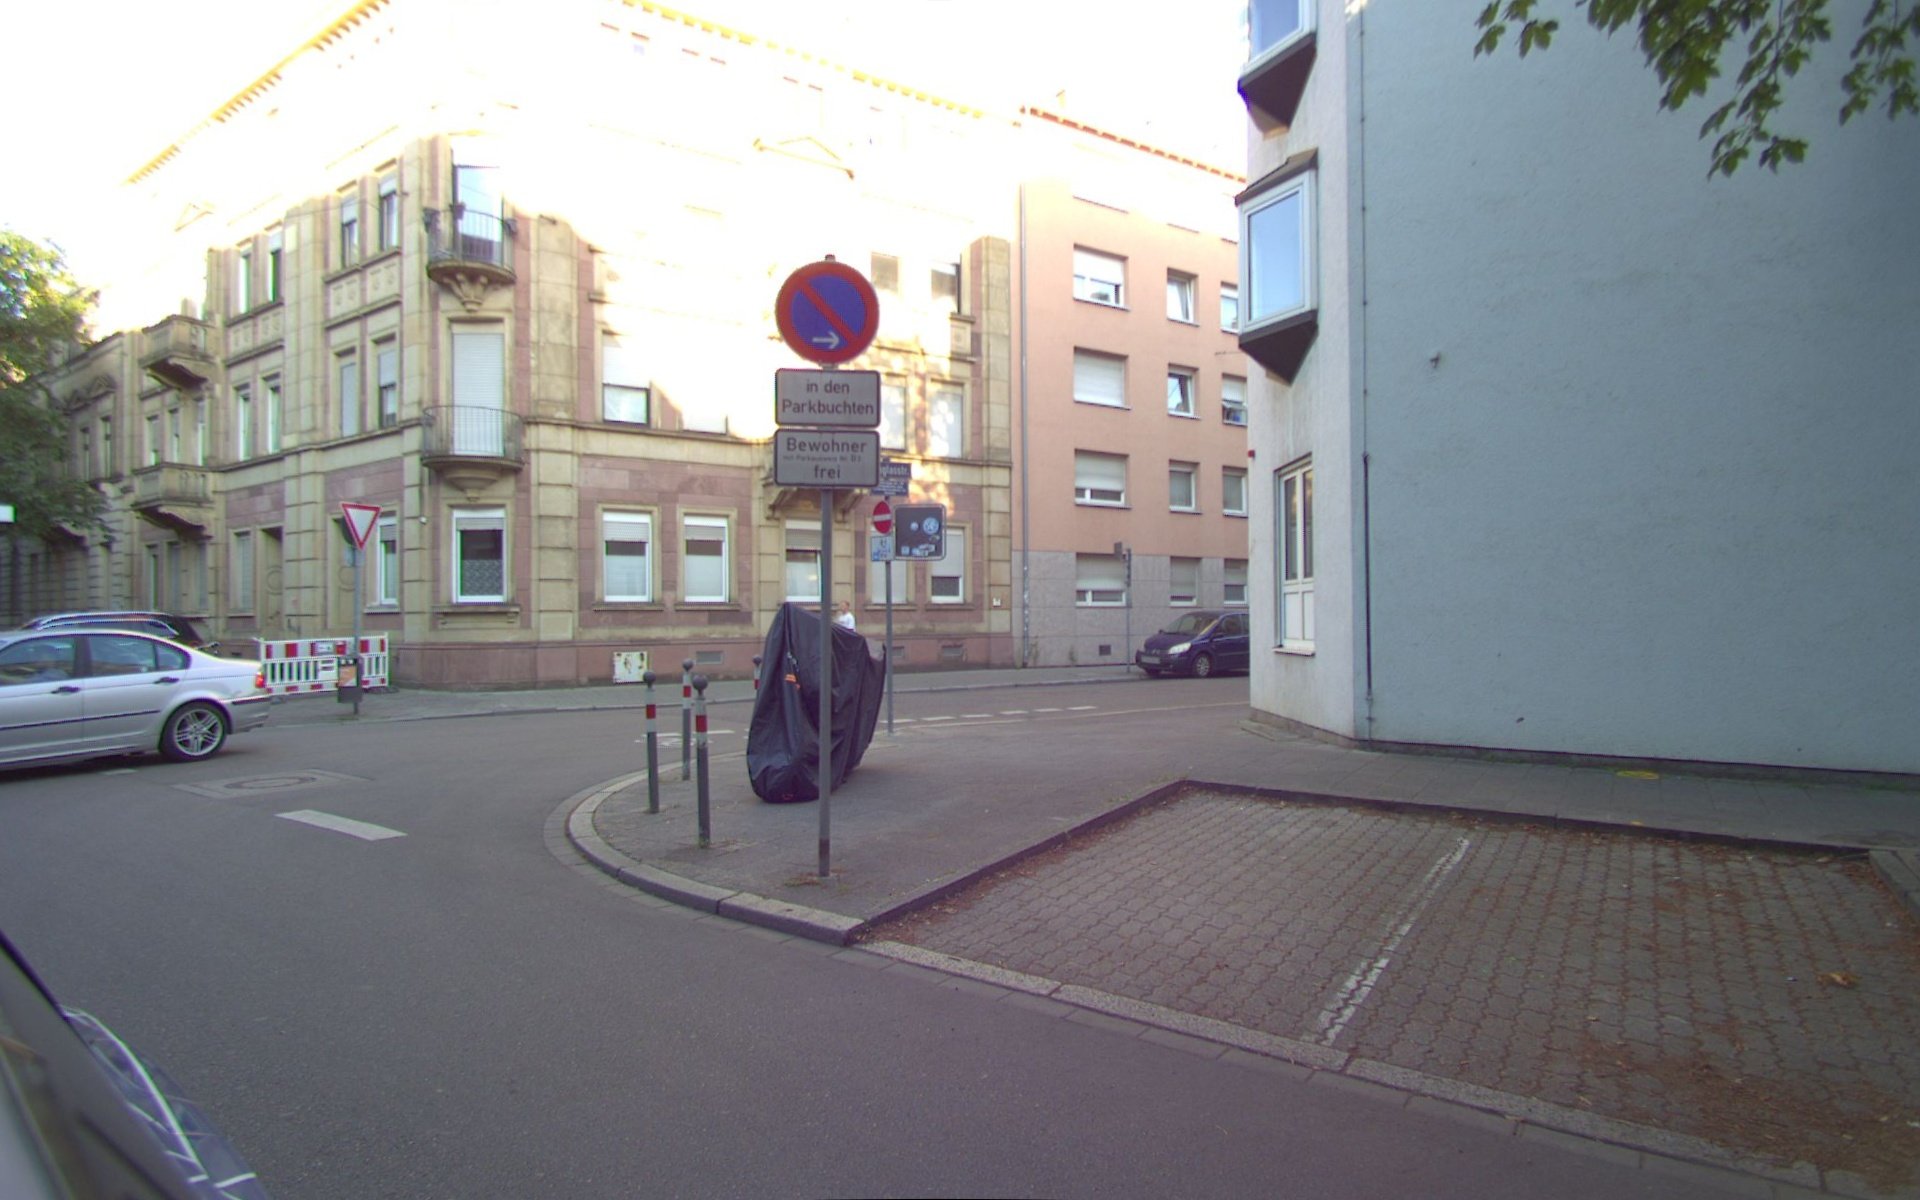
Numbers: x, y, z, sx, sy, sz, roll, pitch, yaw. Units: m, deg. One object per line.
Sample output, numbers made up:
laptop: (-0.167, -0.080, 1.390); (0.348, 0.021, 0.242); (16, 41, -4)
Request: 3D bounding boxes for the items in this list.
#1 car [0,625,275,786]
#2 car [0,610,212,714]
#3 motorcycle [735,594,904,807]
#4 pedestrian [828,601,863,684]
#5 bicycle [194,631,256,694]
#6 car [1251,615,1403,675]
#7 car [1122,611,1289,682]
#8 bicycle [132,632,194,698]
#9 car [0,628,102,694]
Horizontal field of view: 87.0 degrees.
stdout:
car: (-9.163, 0.971, 9.458); (1.670, 1.414, 4.440); (-2, -3, 21)
car: (-17.125, 1.125, 19.094); (1.773, 1.751, 4.536); (0, 1, 36)
motorcycle: (-1.114, 0.767, 8.602); (0.663, 1.567, 2.152); (-1, -1, 14)
pedestrian: (-2.467, 0.911, 21.733); (0.559, 1.757, 0.552); (1, -2, -34)
bicycle: (-13.614, 1.134, 18.726); (1.866, 1.097, 0.360); (0, 1, 36)
car: (10.069, 1.207, 27.708); (4.211, 1.525, 1.699); (1, -2, -33)
car: (6.106, 1.103, 25.060); (3.985, 1.637, 1.700); (0, -2, -32)
bicycle: (-14.208, 1.136, 18.019); (1.866, 1.097, 0.360); (0, 1, 36)
car: (-23.221, 1.452, 23.769); (1.773, 1.499, 4.392); (-2, -2, 36)
